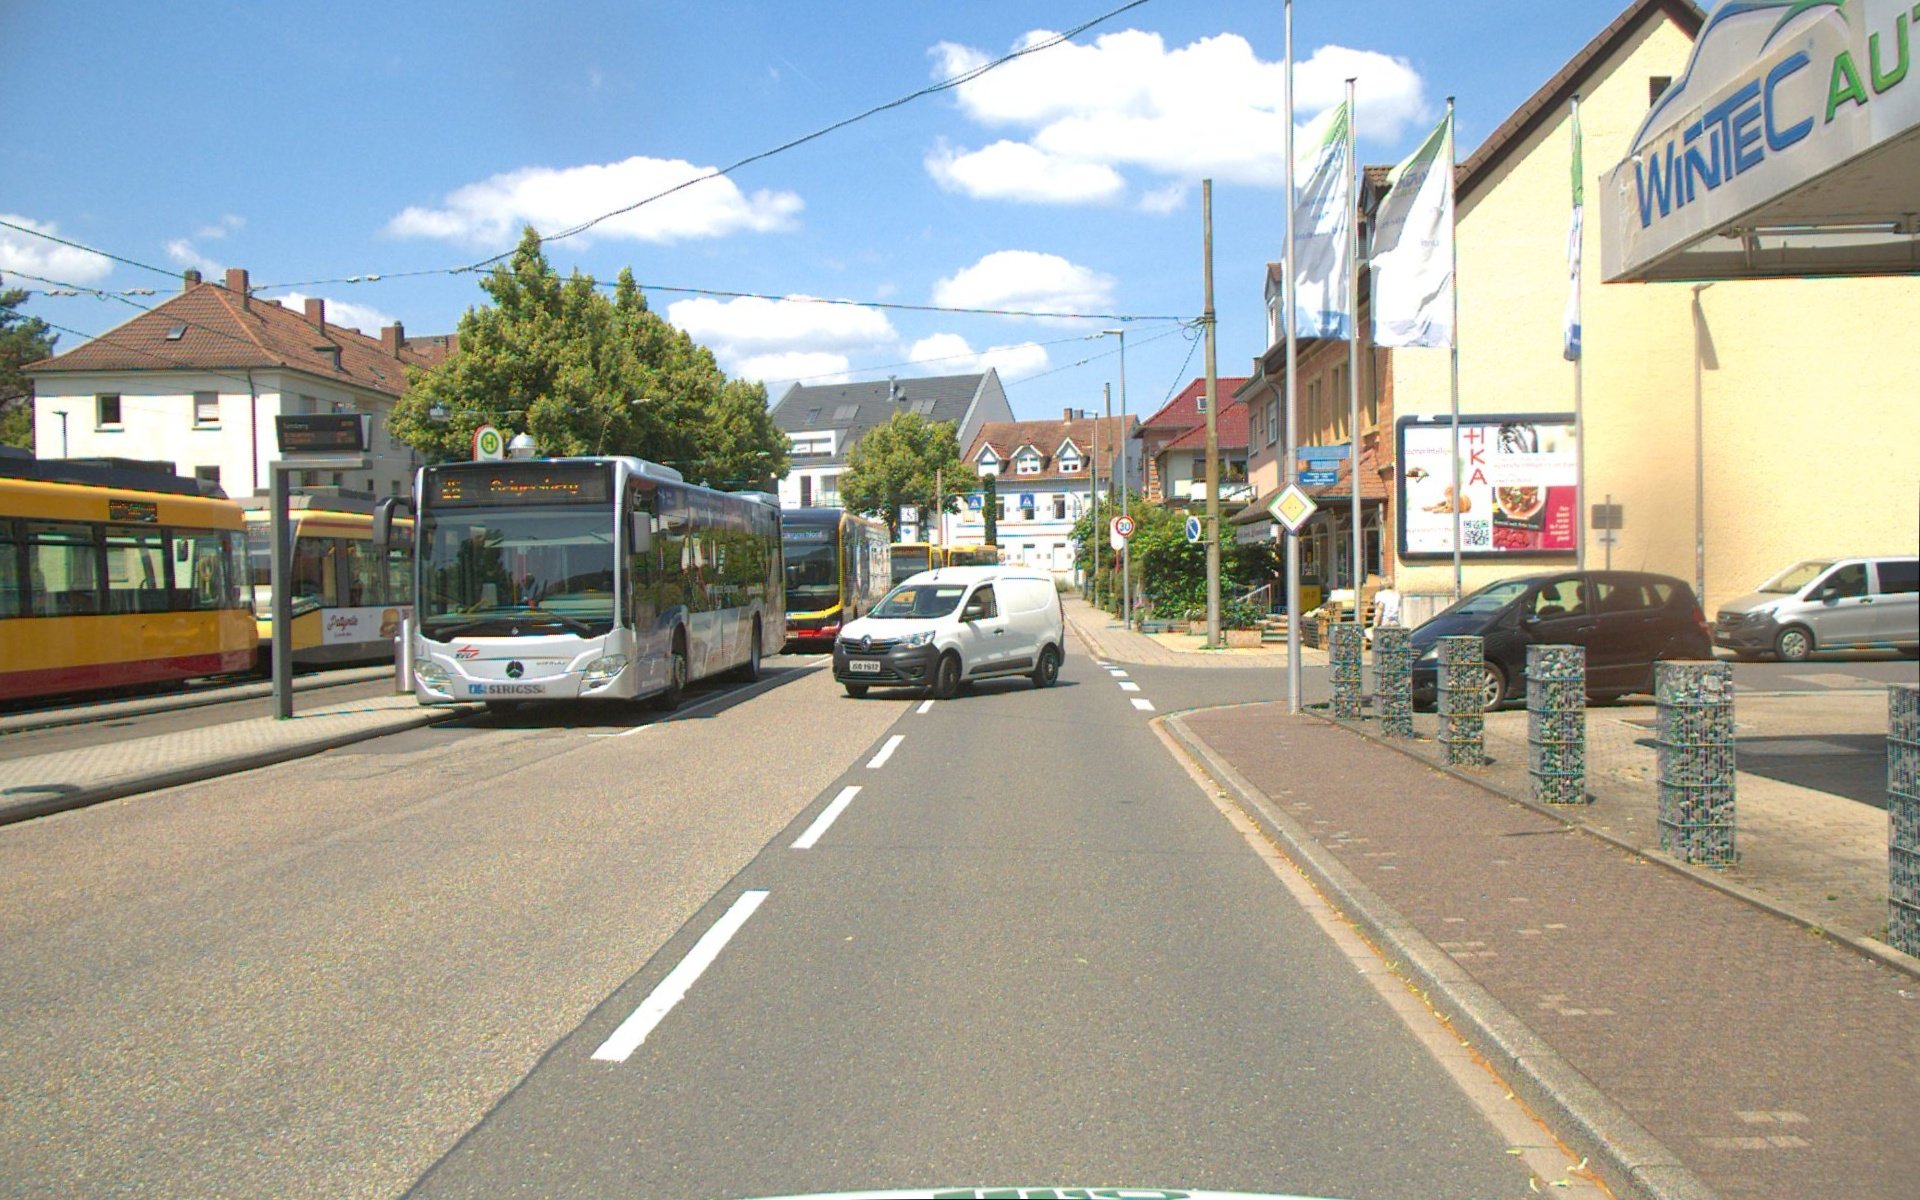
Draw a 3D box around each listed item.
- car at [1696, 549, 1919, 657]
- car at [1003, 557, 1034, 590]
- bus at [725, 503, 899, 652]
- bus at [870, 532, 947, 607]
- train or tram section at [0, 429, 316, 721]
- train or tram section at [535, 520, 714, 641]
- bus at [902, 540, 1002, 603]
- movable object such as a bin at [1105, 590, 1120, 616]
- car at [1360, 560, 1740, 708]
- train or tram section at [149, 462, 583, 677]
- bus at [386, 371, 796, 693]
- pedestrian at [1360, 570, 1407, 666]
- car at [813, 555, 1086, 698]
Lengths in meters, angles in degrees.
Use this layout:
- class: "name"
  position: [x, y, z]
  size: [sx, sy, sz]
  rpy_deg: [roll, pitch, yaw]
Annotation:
- class: "car"
  position: [16.610, 0.030, 30.816]
  size: [4.951, 1.894, 1.908]
  rpy_deg: [-1, 0, -1]
- class: "car"
  position: [3.861, -1.705, 109.090]
  size: [1.952, 2.049, 4.001]
  rpy_deg: [1, 0, 3]
- class: "bus"
  position: [-3.572, -0.464, 43.449]
  size: [2.837, 3.304, 12.200]
  rpy_deg: [1, 0, 3]
- class: "bus"
  position: [-2.346, -1.421, 79.729]
  size: [2.847, 3.304, 12.122]
  rpy_deg: [1, 1, 2]
- class: "train or tram section"
  position: [-13.013, -0.348, 22.695]
  size: [2.901, 3.556, 12.661]
  rpy_deg: [1, 1, 2]
- class: "train or tram section"
  position: [-11.538, -0.673, 58.695]
  size: [2.901, 3.706, 13.999]
  rpy_deg: [1, 1, 2]
- class: "bus"
  position: [-0.299, -1.665, 93.269]
  size: [2.720, 3.264, 12.318]
  rpy_deg: [1, 2, 14]
- class: "movable object such as a bin"
  position: [5.568, 0.109, 60.291]
  size: [0.398, 0.922, 0.729]
  rpy_deg: [-4, 0, -1]
- class: "car"
  position: [6.875, 0.369, 19.461]
  size: [3.806, 1.570, 1.838]
  rpy_deg: [-1, 0, -11]
- class: "train or tram section"
  position: [-12.382, -0.614, 37.607]
  size: [2.901, 3.706, 17.358]
  rpy_deg: [1, 1, 2]
- class: "bus"
  position: [-4.644, -0.704, 24.148]
  size: [2.847, 3.487, 12.042]
  rpy_deg: [1, 0, 2]
- class: "pedestrian"
  position: [7.572, 0.317, 29.550]
  size: [0.690, 1.670, 0.660]
  rpy_deg: [-1, 2, 23]
- class: "car"
  position: [-0.024, 0.289, 24.073]
  size: [1.674, 1.883, 4.699]
  rpy_deg: [1, 1, 33]
